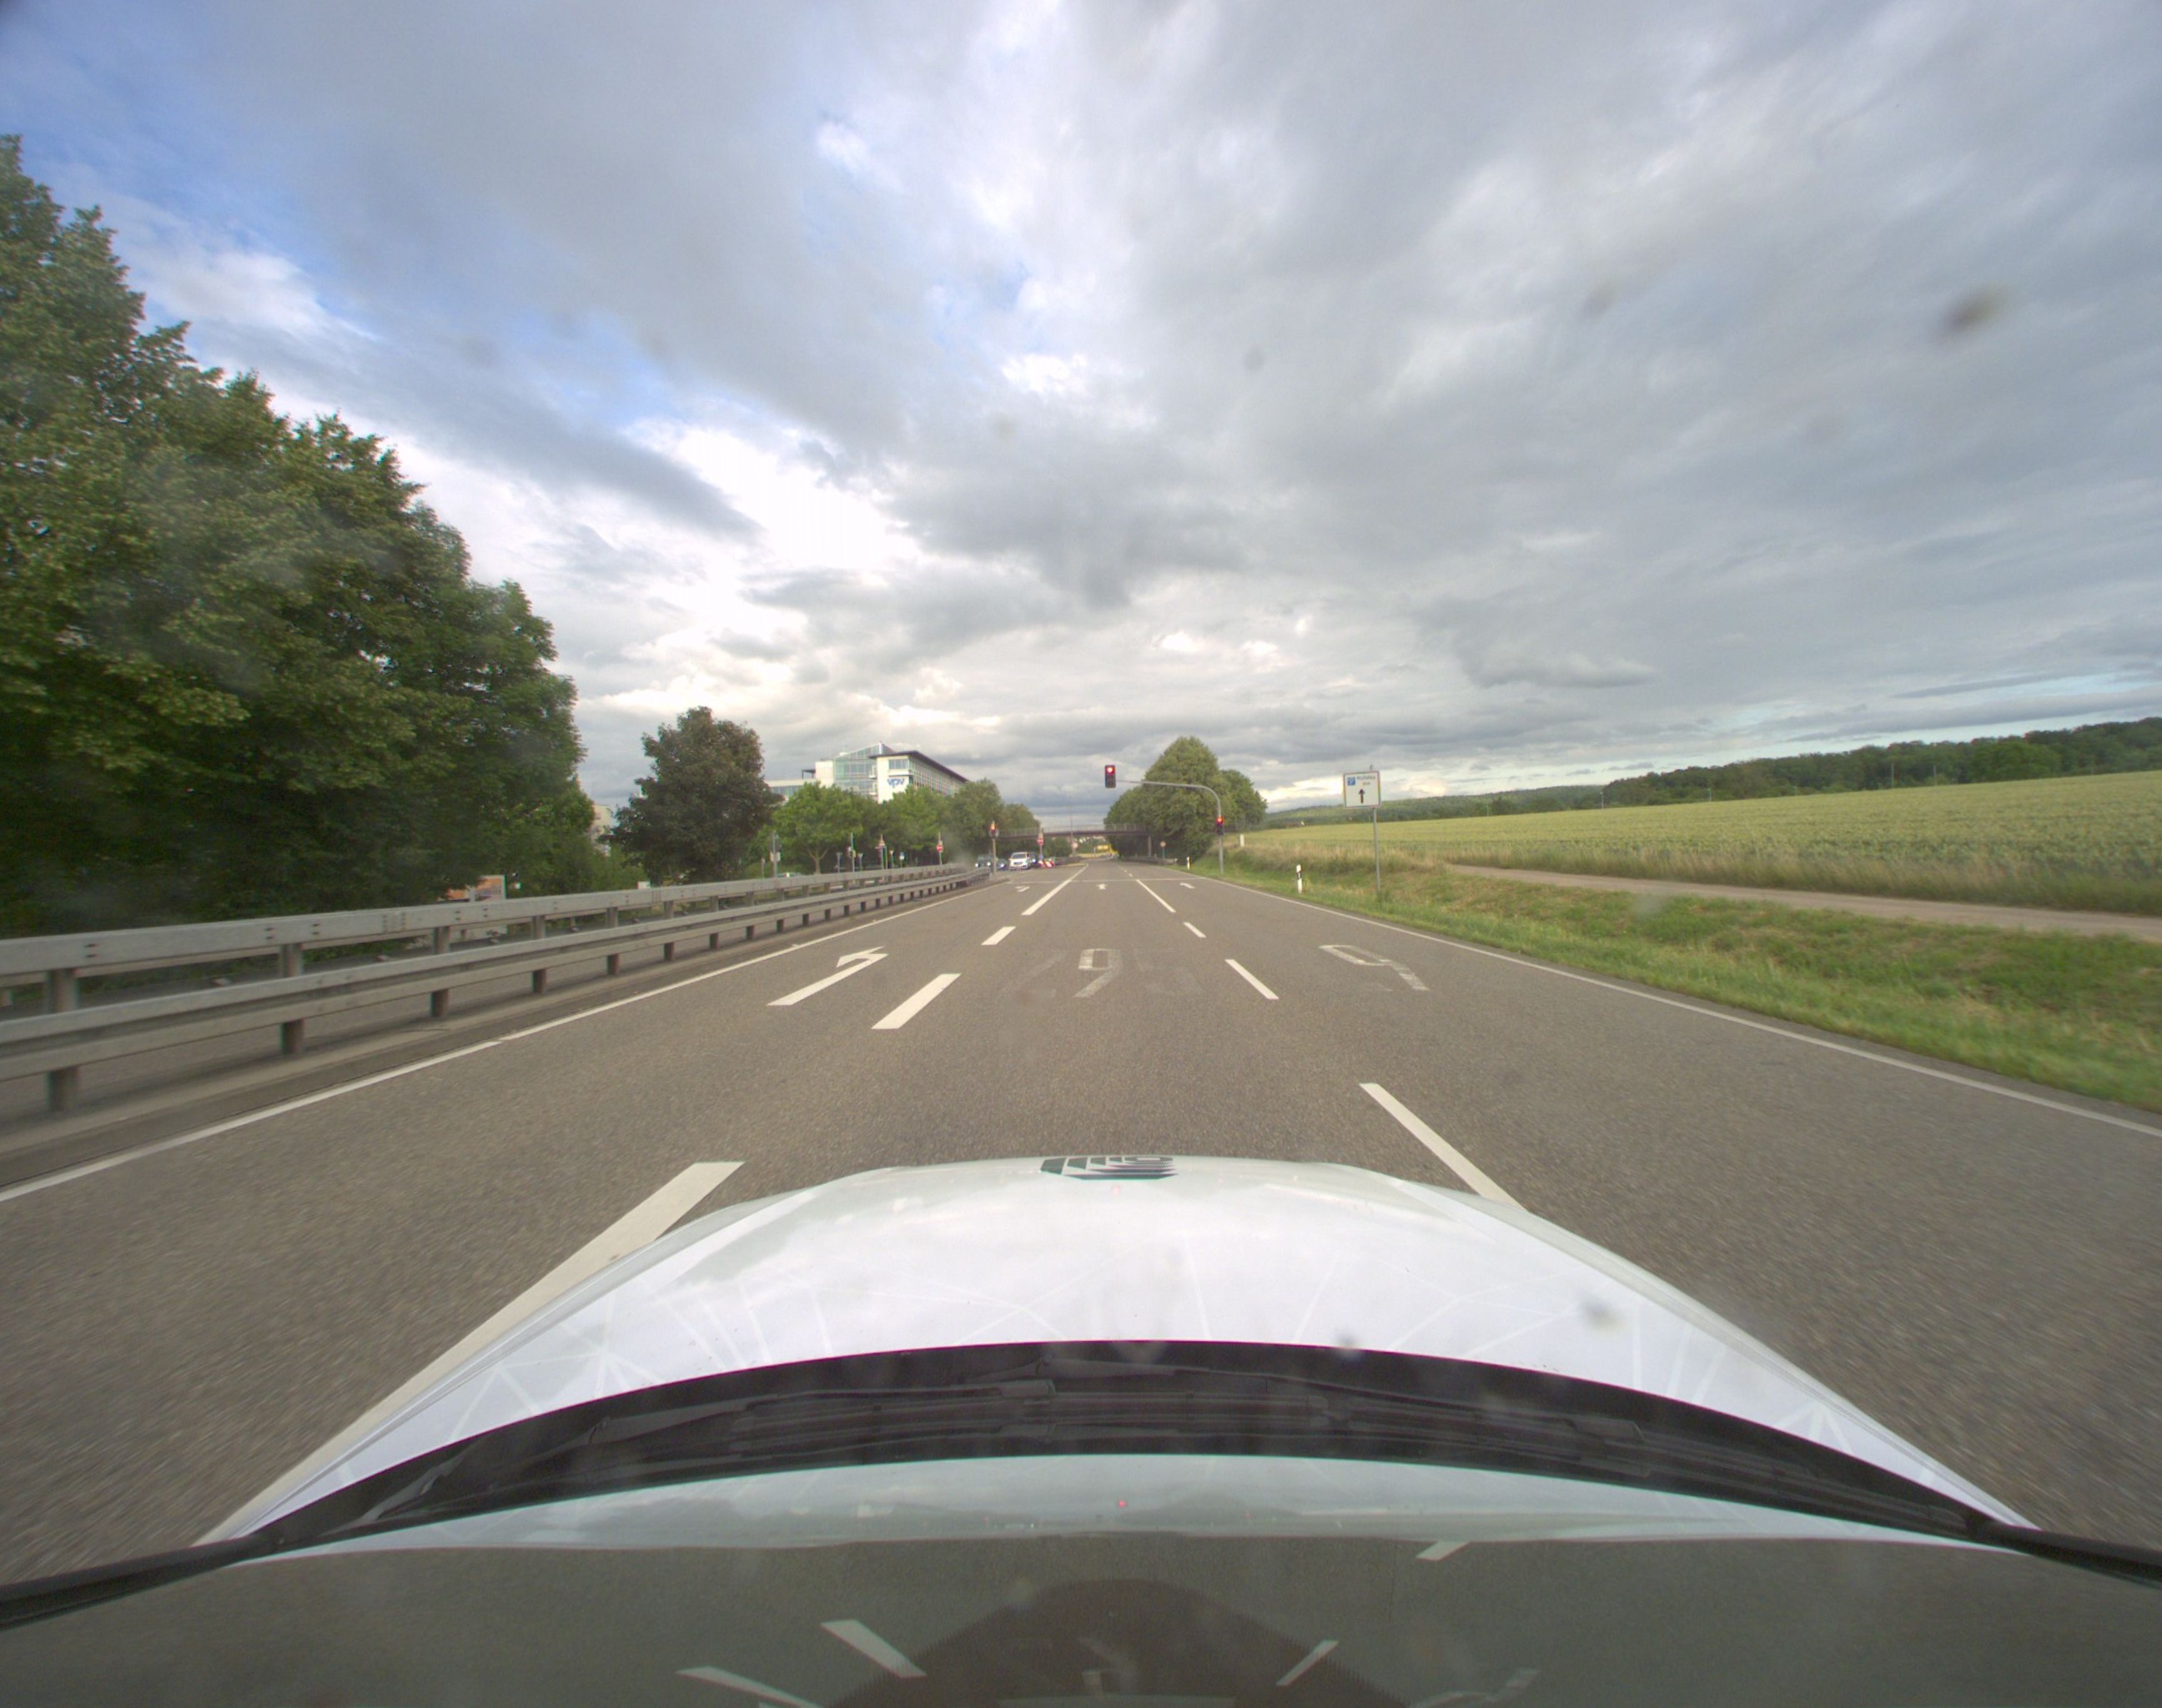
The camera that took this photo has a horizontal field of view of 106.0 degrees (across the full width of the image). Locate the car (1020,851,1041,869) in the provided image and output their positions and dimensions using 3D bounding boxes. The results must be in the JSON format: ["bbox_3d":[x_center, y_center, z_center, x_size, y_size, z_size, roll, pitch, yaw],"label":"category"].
[{"bbox_3d":[-5.928,0.664,95.483,1.986,1.873,4.738,-2,1,2],"label":"car"}]

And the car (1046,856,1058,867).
[{"bbox_3d":[-3.445,0.885,97.462,1.308,1.229,2.922,-2,1,0],"label":"car"}]

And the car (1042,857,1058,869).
[{"bbox_3d":[-3.239,0.916,84.845,1.352,1.092,2.924,-2,1,2],"label":"car"}]

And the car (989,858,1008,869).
[{"bbox_3d":[-9.496,1.086,94.030,1.607,1.178,3.459,-2,1,2],"label":"car"}]

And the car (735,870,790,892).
[{"bbox_3d":[-25.050,2.109,64.202,3.712,1.539,1.727,-2,0,-12],"label":"car"}]

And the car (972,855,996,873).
[{"bbox_3d":[-10.337,1.038,86.766,1.862,1.754,4.050,-2,1,2],"label":"car"}]

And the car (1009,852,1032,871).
[{"bbox_3d":[-6.440,0.768,86.901,1.941,1.873,4.738,-2,1,2],"label":"car"}]
